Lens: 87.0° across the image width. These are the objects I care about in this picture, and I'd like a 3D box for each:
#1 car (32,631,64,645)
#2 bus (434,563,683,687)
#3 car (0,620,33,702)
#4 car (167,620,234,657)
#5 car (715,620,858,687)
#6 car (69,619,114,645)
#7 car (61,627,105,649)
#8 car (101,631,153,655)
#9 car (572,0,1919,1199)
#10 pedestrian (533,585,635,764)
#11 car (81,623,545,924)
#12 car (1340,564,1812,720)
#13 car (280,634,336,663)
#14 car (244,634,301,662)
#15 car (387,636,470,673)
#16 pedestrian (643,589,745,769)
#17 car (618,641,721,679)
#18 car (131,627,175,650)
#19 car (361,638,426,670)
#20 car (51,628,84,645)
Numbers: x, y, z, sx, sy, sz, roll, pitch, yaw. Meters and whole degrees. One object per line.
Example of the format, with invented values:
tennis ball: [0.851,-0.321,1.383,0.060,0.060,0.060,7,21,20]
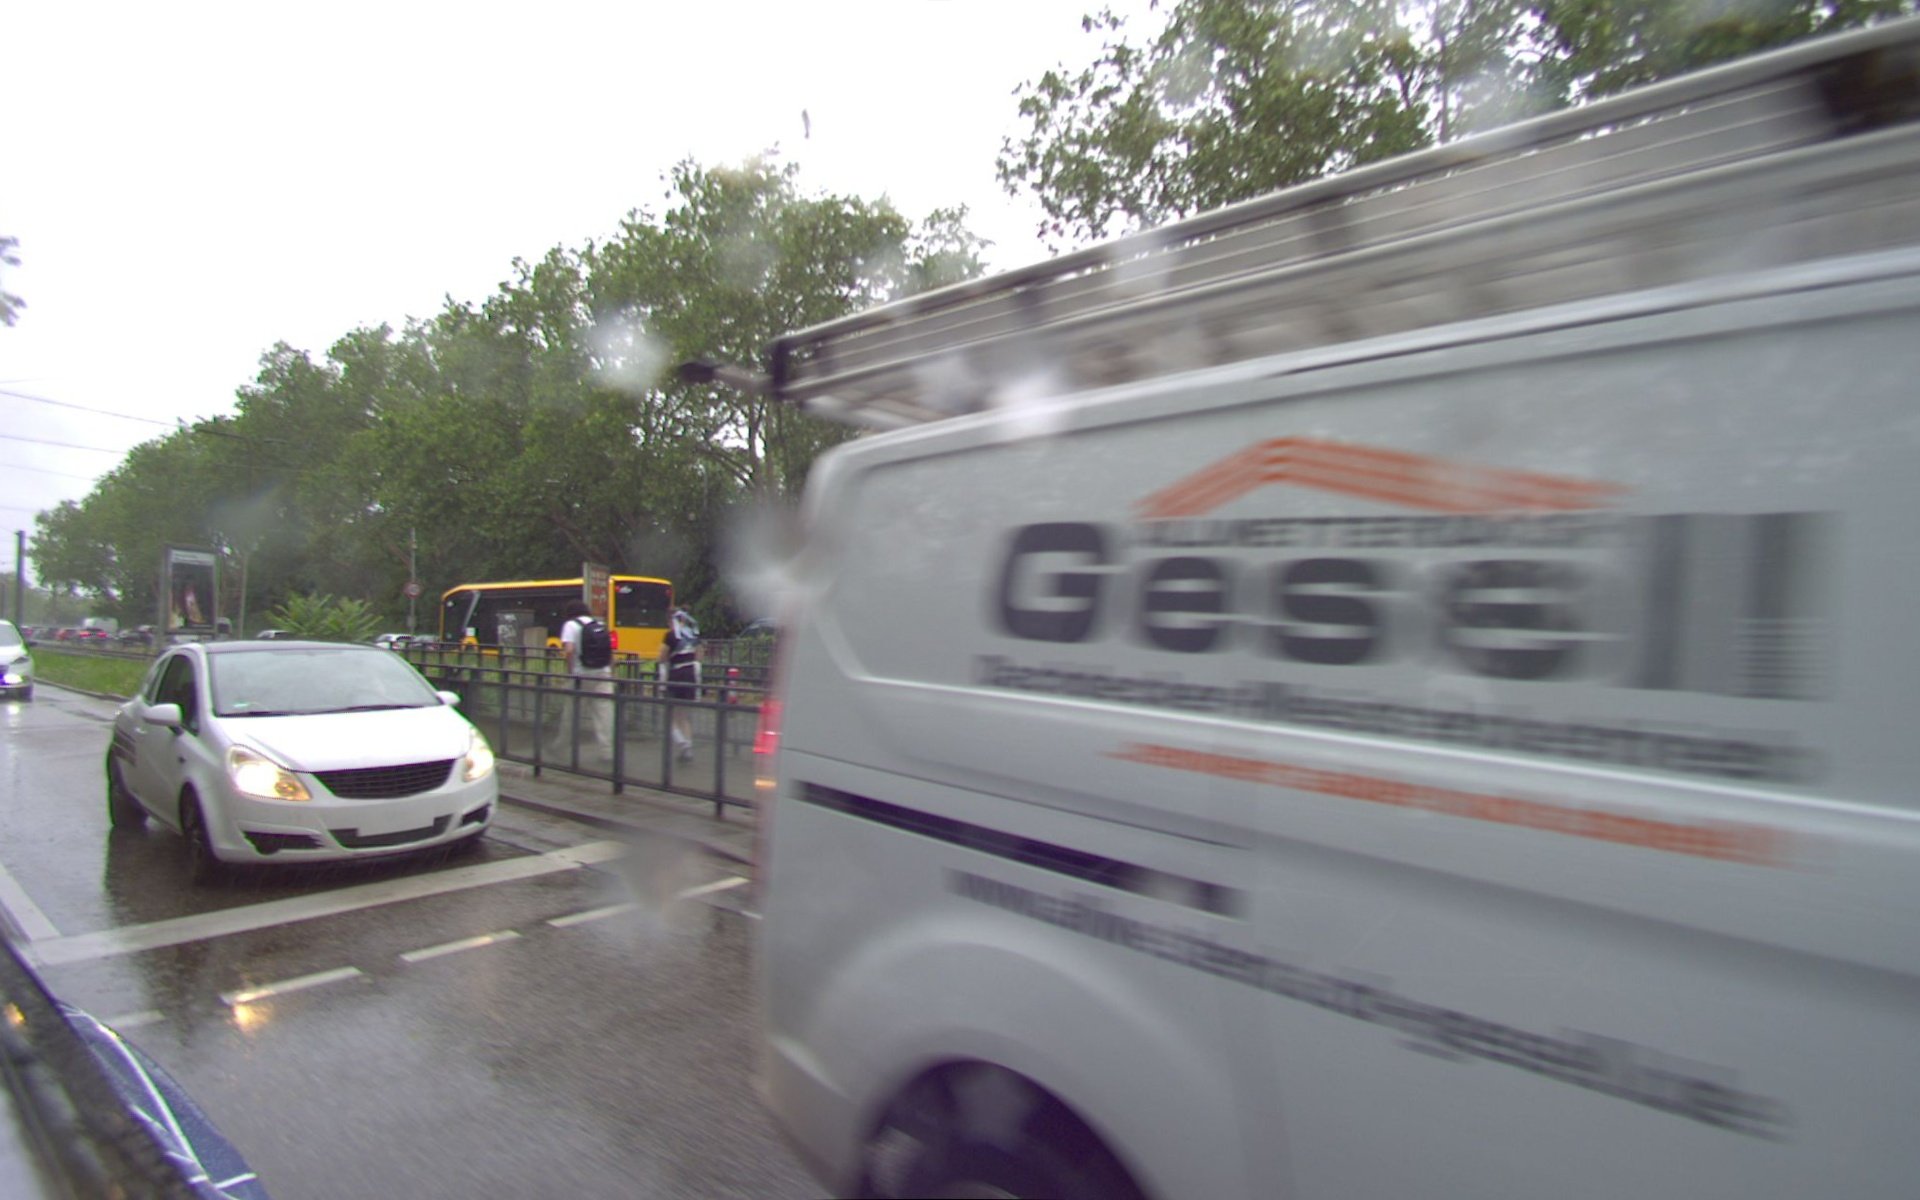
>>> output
car: [-104.877,4.375,116.404,4.380,1.564,2.013,-1,-4,39]
bus: [-14.975,0.867,36.860,12.235,3.867,2.999,-1,-1,40]
car: [-21.002,1.253,21.326,4.263,1.636,1.844,-1,-1,43]
car: [-56.105,2.838,74.719,6.559,2.560,2.366,-1,-4,39]
car: [-5.912,1.762,34.226,4.796,2.109,2.012,-1,-3,37]
car: [-84.774,3.116,98.802,6.135,2.465,2.306,-1,-3,40]
car: [-72.963,3.155,84.181,4.390,1.670,1.994,-1,-4,39]
car: [-60.701,3.155,73.757,4.271,1.670,2.012,-1,-3,38]
car: [1.693,0.280,1.455,5.286,2.279,1.973,0,-1,41]
pedestrian: [-3.890,0.744,10.480,0.750,1.758,0.708,-1,-2,40]
car: [-4.649,0.927,7.065,3.803,1.490,1.707,0,-1,41]
car: [9.460,0.618,16.009,6.111,2.029,2.161,-1,-2,41]
car: [-39.621,2.948,61.474,3.809,1.661,1.744,-1,-4,39]
car: [-44.221,3.085,65.060,4.526,1.741,1.733,-1,-4,39]
car: [-27.165,2.777,51.654,4.689,1.764,2.011,-1,-4,39]
pedestrian: [-2.730,0.779,10.387,0.807,1.752,0.670,-1,-2,40]
car: [-11.115,2.262,38.683,3.980,1.327,1.719,-1,-3,37]
car: [-67.738,3.217,84.925,4.637,1.876,1.936,-1,-4,41]
car: [-30.746,2.913,54.940,3.809,1.661,1.744,-1,-4,39]
car: [-96.304,3.891,109.192,4.380,1.564,2.013,1,2,39]
